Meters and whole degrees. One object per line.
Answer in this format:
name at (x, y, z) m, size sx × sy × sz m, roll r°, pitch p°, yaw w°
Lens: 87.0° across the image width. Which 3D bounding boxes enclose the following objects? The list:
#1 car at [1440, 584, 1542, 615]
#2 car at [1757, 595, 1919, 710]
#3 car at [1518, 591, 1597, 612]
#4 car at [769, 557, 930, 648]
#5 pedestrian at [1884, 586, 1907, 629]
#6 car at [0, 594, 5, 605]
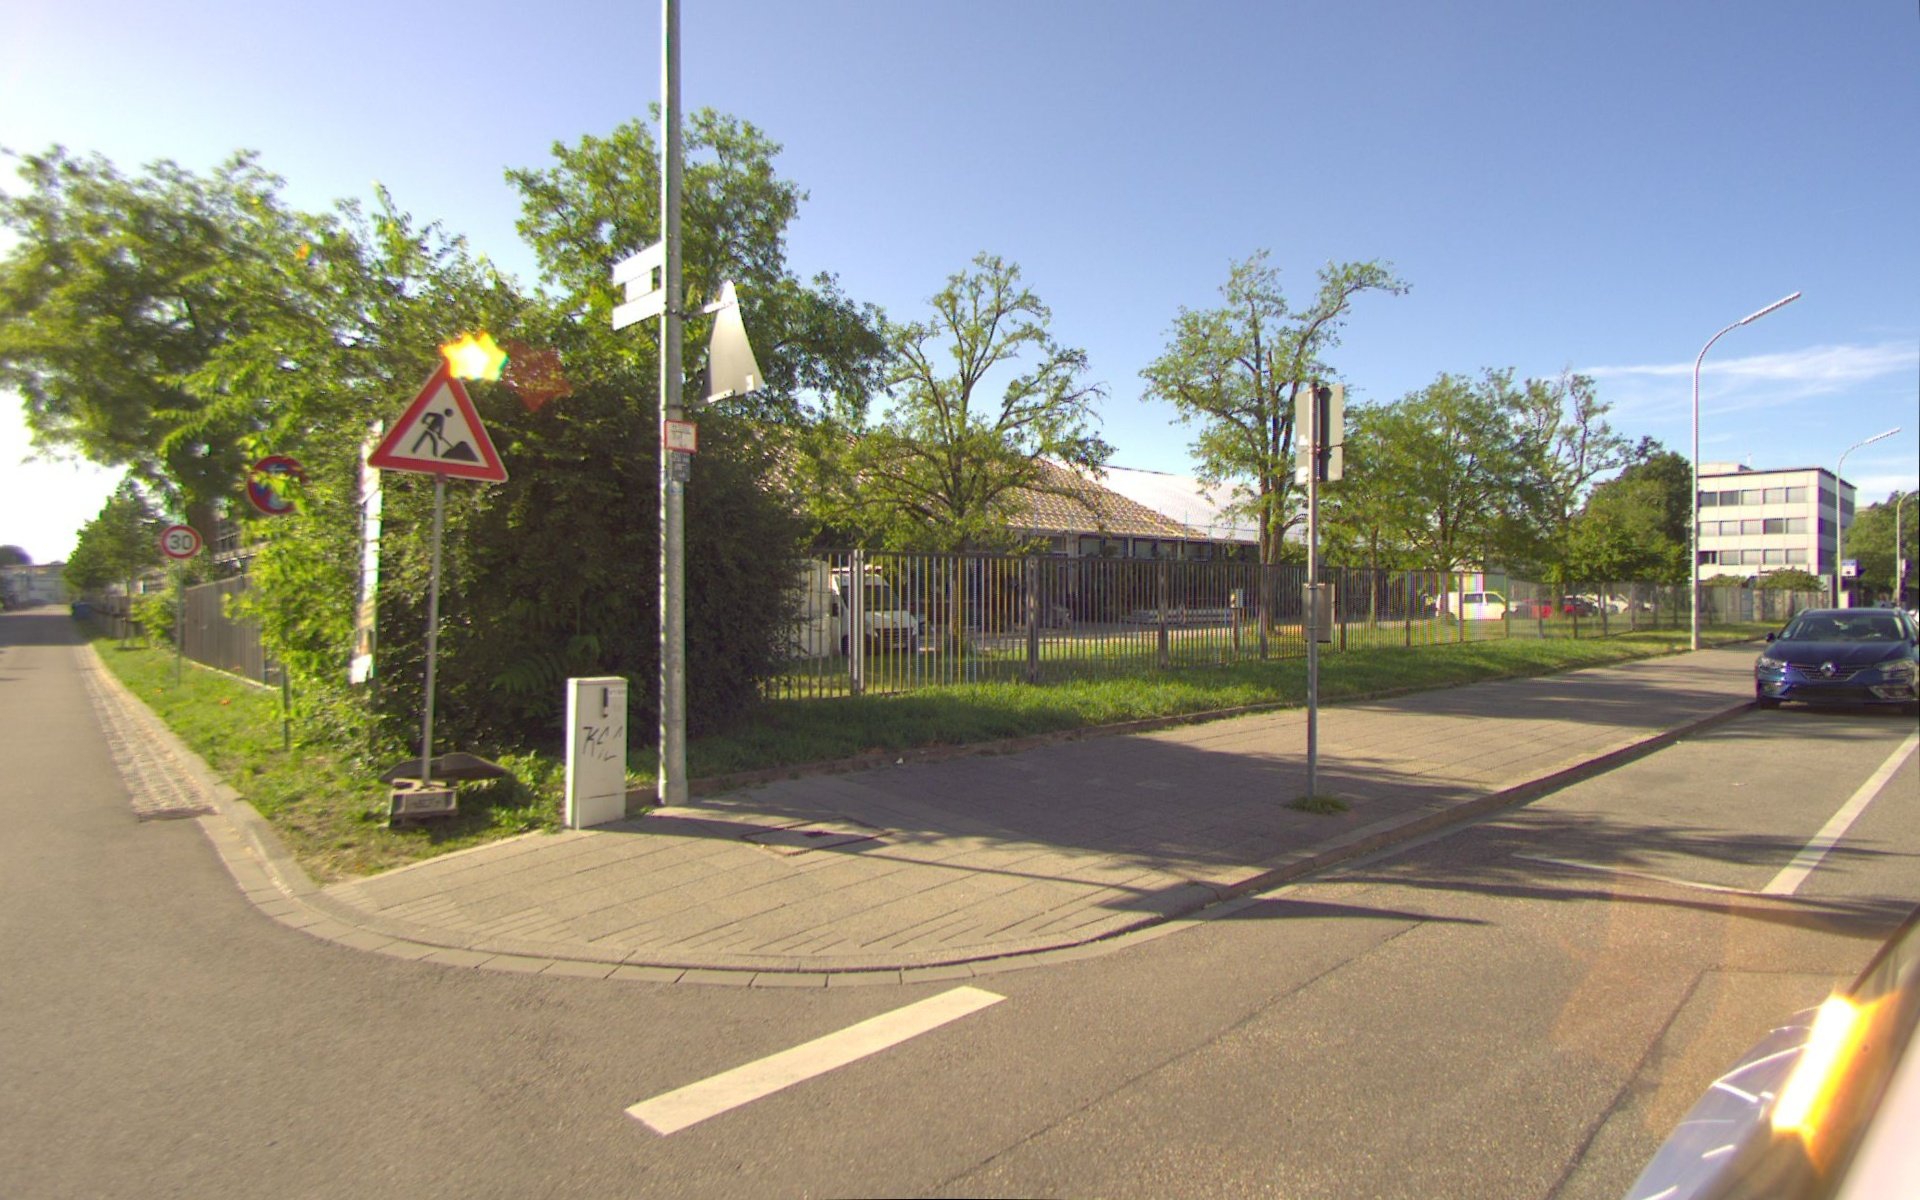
car at (31.816, -0.011, 60.739) m, size 2.061 × 1.665 × 4.967 m, roll 0°, pitch -1°, yaw -44°
car at (13.317, 0.664, 14.865) m, size 4.141 × 1.471 × 1.820 m, roll 0°, pitch 0°, yaw -41°
car at (39.425, 0.120, 66.836) m, size 1.798 × 1.268 × 4.144 m, roll 0°, pitch -1°, yaw -44°
car at (-3.110, 0.066, 27.374) m, size 1.962 × 2.230 × 5.300 m, roll 1°, pitch -1°, yaw -36°
pedestrian at (36.761, 0.291, 39.759) m, size 0.671 × 1.632 × 0.540 m, roll -1°, pitch -1°, yaw -41°
car at (-127.132, -0.068, 133.330) m, size 1.783 × 1.431 × 3.321 m, roll -1°, pitch 0°, yaw -41°
